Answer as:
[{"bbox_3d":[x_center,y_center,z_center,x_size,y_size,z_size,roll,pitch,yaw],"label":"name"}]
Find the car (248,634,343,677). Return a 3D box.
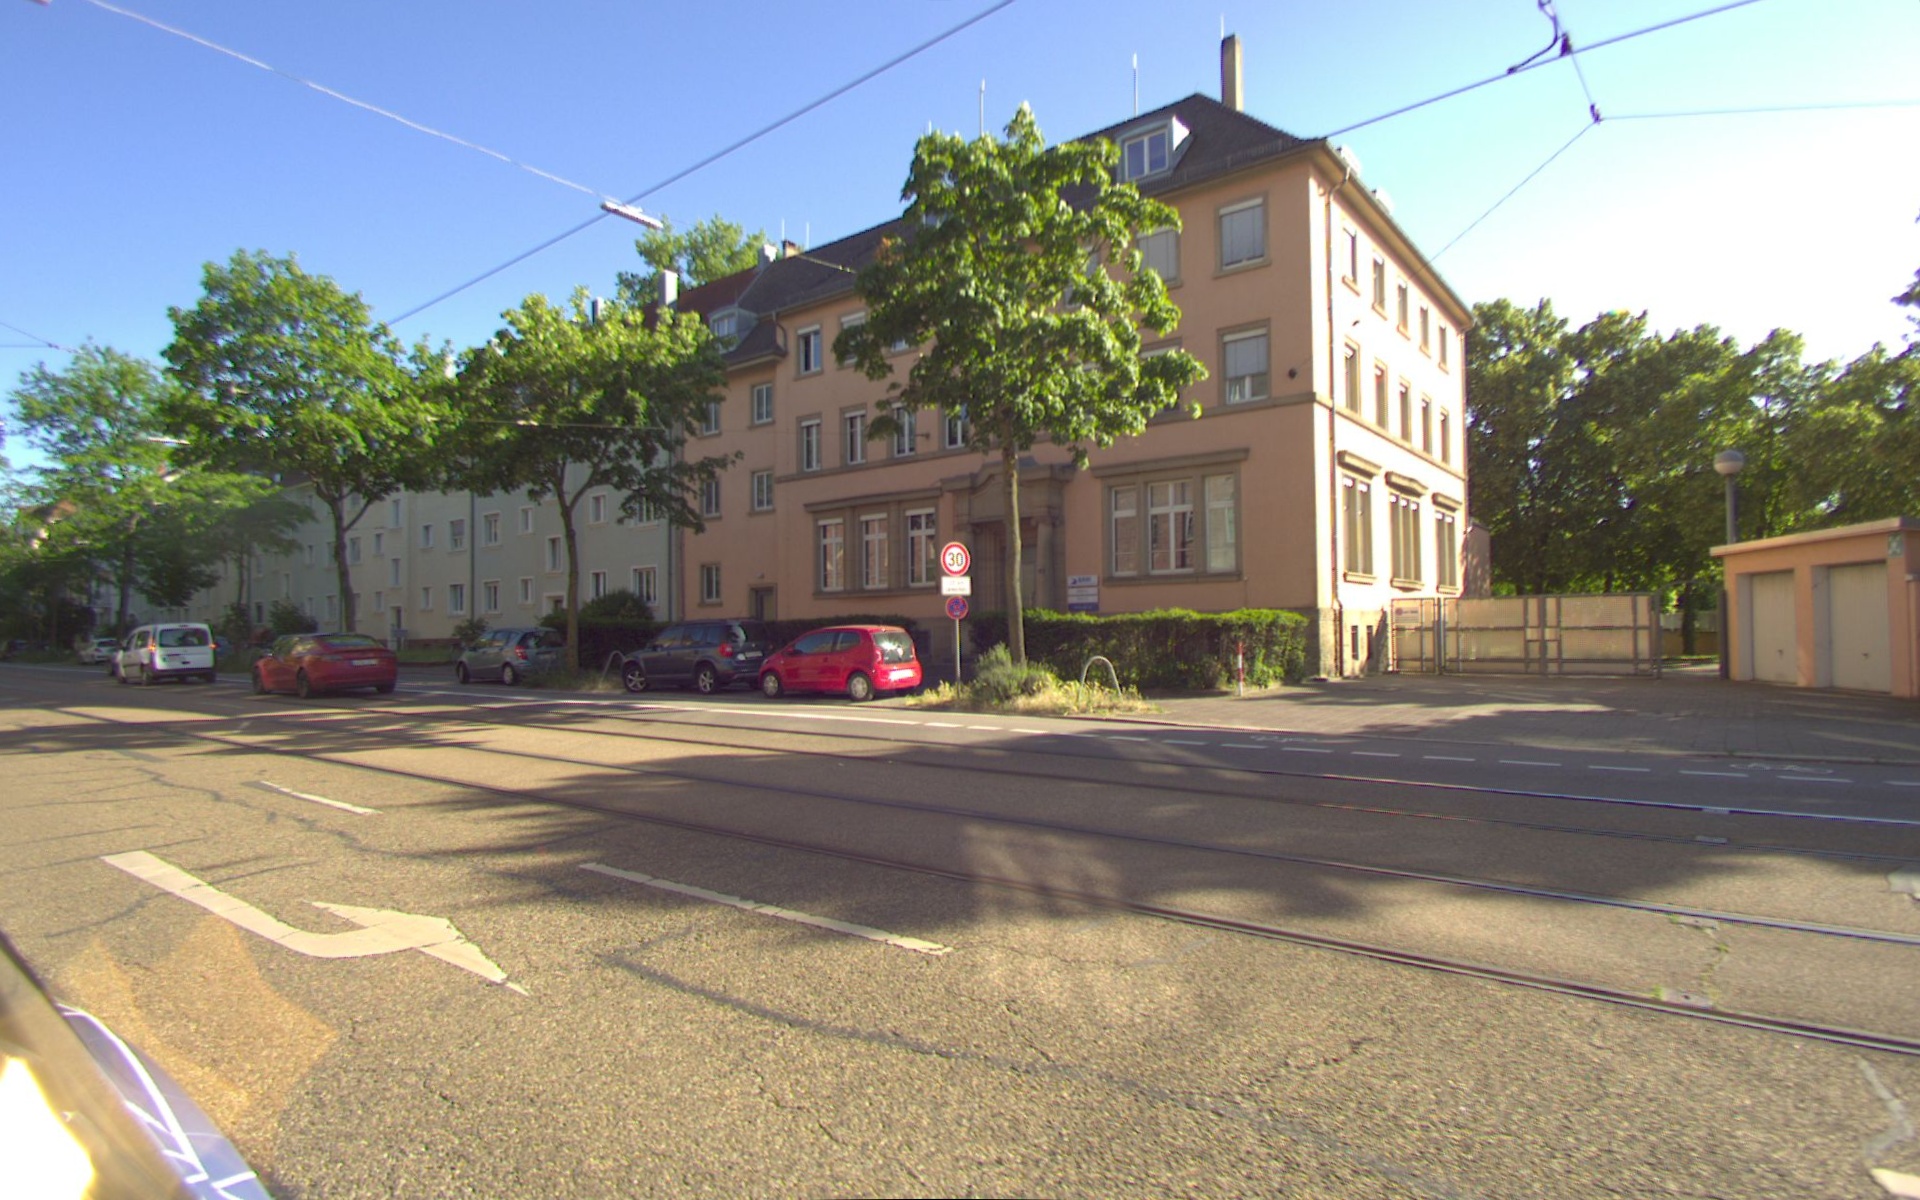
[{"bbox_3d":[-25.950,2.154,39.484,4.316,1.501,1.729,-3,0,37],"label":"car"}]

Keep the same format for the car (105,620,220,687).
[{"bbox_3d":[-24.482,1.628,31.025,4.435,1.903,1.792,-3,-3,39],"label":"car"}]

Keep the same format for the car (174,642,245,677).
[{"bbox_3d":[-34.745,2.732,46.806,3.923,1.468,1.546,-3,0,36],"label":"car"}]

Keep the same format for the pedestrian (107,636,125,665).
[{"bbox_3d":[-53.273,3.179,63.897,0.812,1.815,0.685,-3,-4,38],"label":"pedestrian"}]

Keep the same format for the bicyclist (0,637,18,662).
[{"bbox_3d":[-62.474,3.242,66.429,0.864,1.619,0.703,-3,-6,38],"label":"bicyclist"}]

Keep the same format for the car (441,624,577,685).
[{"bbox_3d":[-12.982,1.555,29.064,4.061,1.581,1.730,-3,0,36],"label":"car"}]

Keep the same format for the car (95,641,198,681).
[{"bbox_3d":[-30.717,2.284,38.192,4.428,1.397,1.795,-2,-3,34],"label":"car"}]

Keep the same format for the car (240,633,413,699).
[{"bbox_3d":[-14.857,1.499,23.643,4.679,1.397,1.903,-2,-3,37],"label":"car"}]

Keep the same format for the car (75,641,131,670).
[{"bbox_3d":[-49.377,3.202,58.266,4.073,1.496,1.686,-3,0,38],"label":"car"}]

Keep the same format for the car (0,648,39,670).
[{"bbox_3d":[-69.344,4.302,74.380,4.201,1.496,1.799,-3,-2,38],"label":"car"}]

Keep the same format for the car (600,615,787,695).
[{"bbox_3d":[-6.255,1.262,23.551,4.379,1.673,1.731,-3,0,34],"label":"car"}]

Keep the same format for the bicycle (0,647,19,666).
[{"bbox_3d":[-62.431,3.706,66.357,1.910,1.186,0.687,-3,-6,39],"label":"bicycle"}]

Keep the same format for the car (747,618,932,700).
[{"bbox_3d":[-2.521,1.189,20.813,3.603,1.499,1.569,-3,0,34],"label":"car"}]

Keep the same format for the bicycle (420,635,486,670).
[{"bbox_3d":[-19.958,2.061,39.885,0.560,1.207,2.258,-4,-1,45],"label":"bicycle"}]
